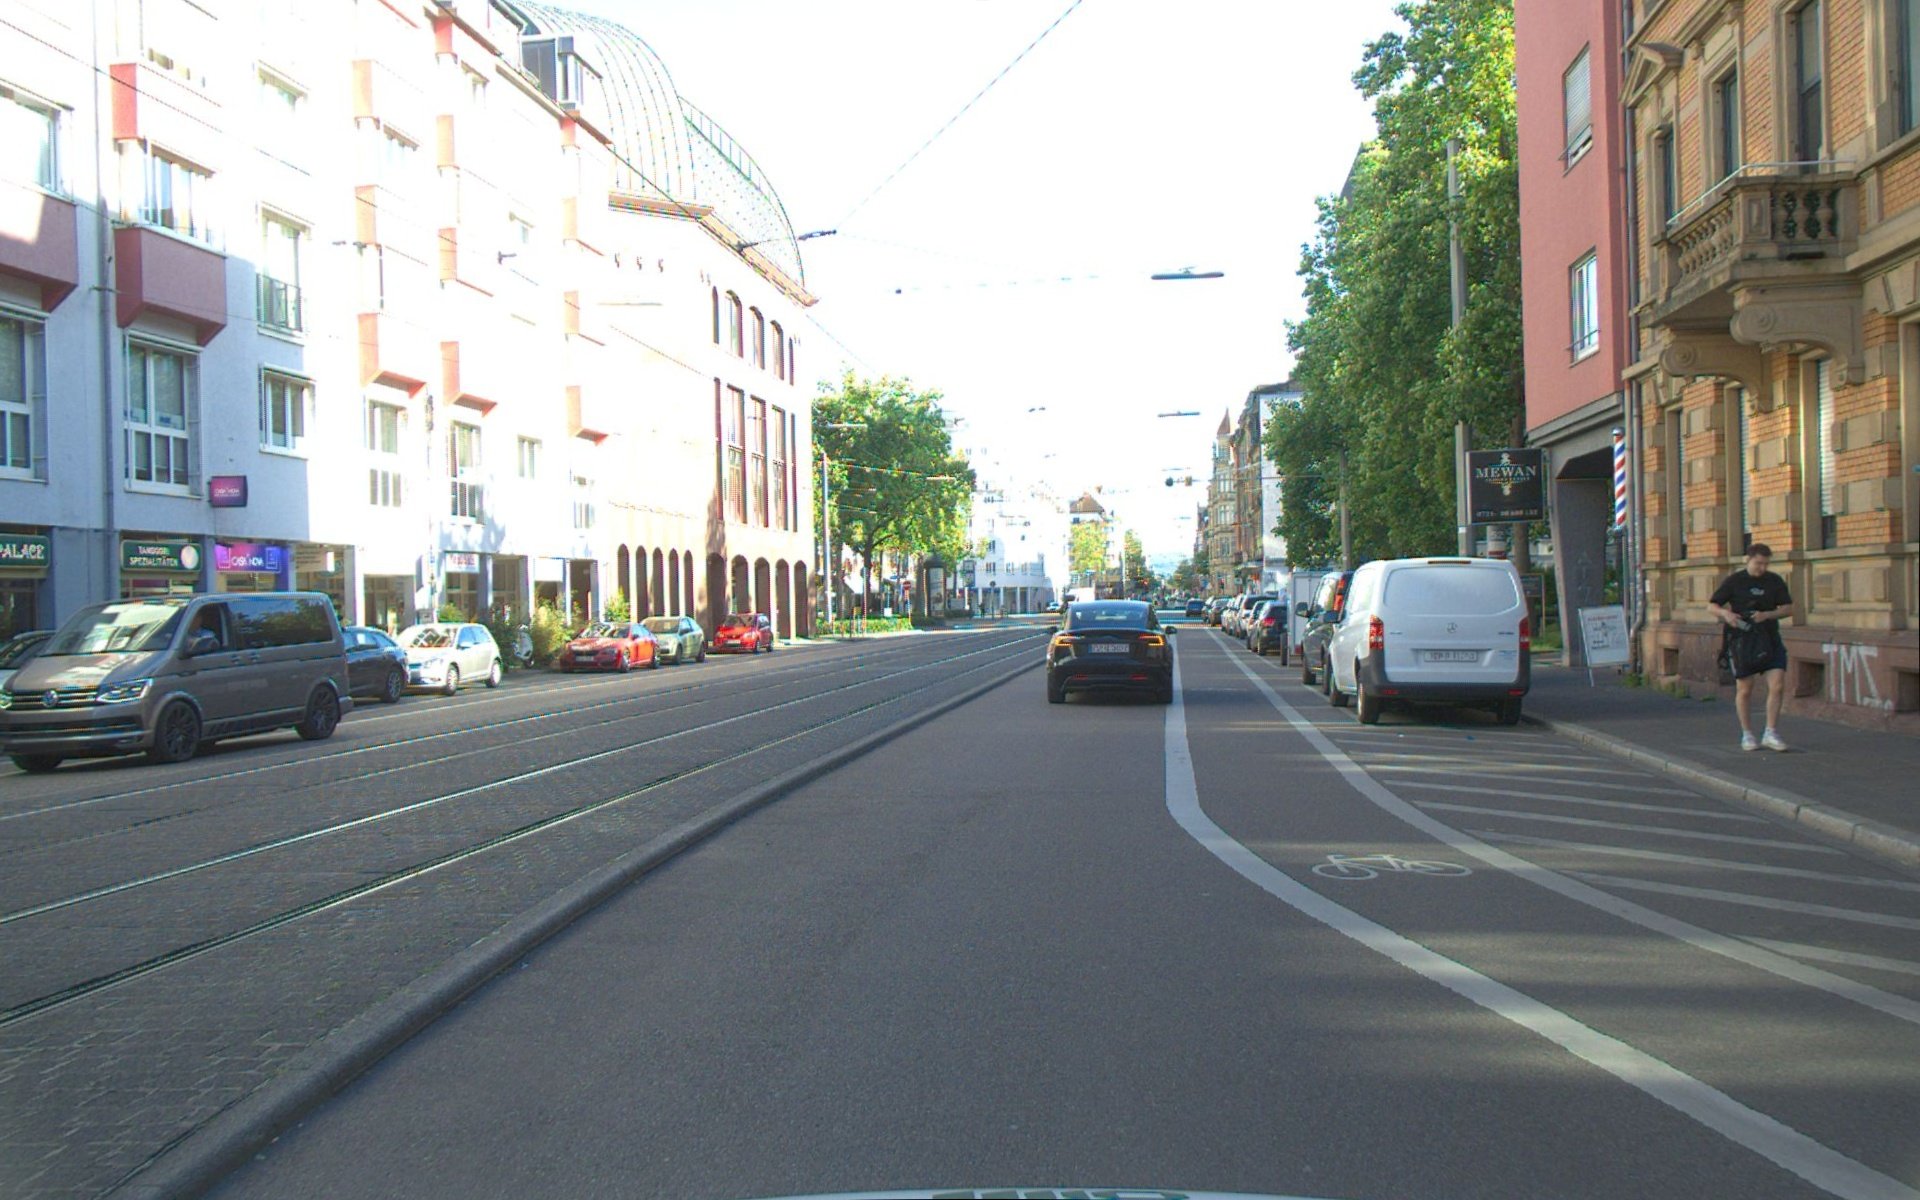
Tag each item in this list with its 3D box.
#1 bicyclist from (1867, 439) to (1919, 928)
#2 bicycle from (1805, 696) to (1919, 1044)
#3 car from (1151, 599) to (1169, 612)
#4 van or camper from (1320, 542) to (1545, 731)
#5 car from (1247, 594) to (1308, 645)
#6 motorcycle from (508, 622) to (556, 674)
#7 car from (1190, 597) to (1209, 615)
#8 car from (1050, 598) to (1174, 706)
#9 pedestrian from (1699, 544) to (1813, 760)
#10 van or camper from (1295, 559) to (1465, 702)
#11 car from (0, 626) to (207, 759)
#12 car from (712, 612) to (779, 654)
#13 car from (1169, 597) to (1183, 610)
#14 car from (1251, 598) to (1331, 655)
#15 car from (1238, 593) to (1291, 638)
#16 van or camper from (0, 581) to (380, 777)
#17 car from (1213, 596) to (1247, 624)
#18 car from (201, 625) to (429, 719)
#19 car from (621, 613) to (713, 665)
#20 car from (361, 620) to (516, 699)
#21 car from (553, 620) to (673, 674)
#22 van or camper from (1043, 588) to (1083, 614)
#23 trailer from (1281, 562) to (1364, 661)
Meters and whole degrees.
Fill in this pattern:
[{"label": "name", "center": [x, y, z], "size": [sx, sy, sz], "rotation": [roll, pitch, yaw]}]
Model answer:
[{"label": "bicyclist", "center": [3.633, 0.285, 5.539], "size": [0.642, 1.684, 0.927], "rotation": [-1, 0, -2]}, {"label": "bicycle", "center": [3.658, 0.955, 5.397], "size": [0.634, 1.159, 2.094], "rotation": [0, 0, -3]}, {"label": "car", "center": [26.057, 0.716, 215.581], "size": [1.952, 1.552, 4.002], "rotation": [-1, 0, 3]}, {"label": "van or camper", "center": [5.786, 0.416, 20.920], "size": [1.890, 2.072, 5.479], "rotation": [0, 0, 7]}, {"label": "car", "center": [9.776, 0.571, 50.706], "size": [1.712, 1.468, 4.319], "rotation": [-1, 0, 12]}, {"label": "motorcycle", "center": [-11.480, 1.265, 44.416], "size": [0.508, 1.320, 2.083], "rotation": [0, 0, 7]}, {"label": "car", "center": [20.488, 0.491, 141.596], "size": [1.559, 1.458, 3.689], "rotation": [-2, 0, 8]}, {"label": "car", "center": [2.274, 0.706, 24.361], "size": [1.683, 1.430, 3.713], "rotation": [0, 0, 6]}, {"label": "pedestrian", "center": [7.005, 0.450, 14.591], "size": [0.658, 1.846, 0.756], "rotation": [-1, -1, 6]}, {"label": "van or camper", "center": [6.684, 0.437, 26.873], "size": [1.929, 2.081, 5.335], "rotation": [0, 0, 6]}, {"label": "car", "center": [-12.903, 1.253, 23.745], "size": [1.877, 1.642, 4.372], "rotation": [-1, 0, 5]}, {"label": "car", "center": [-7.982, 1.206, 61.814], "size": [1.624, 1.447, 3.623], "rotation": [0, 0, 7]}, {"label": "car", "center": [29.387, 0.501, 224.893], "size": [1.806, 1.620, 4.003], "rotation": [-2, 0, 8]}, {"label": "car", "center": [9.083, 0.707, 45.667], "size": [1.764, 1.460, 4.326], "rotation": [1, 0, 6]}, {"label": "car", "center": [11.505, 0.554, 62.665], "size": [1.677, 1.618, 4.068], "rotation": [0, 0, 6]}, {"label": "van or camper", "center": [-9.188, 0.844, 19.878], "size": [1.951, 1.974, 4.838], "rotation": [-4, 0, 10]}, {"label": "car", "center": [14.897, 0.541, 91.439], "size": [1.674, 1.482, 4.554], "rotation": [0, 0, 7]}, {"label": "car", "center": [-11.811, 1.275, 30.675], "size": [1.861, 1.483, 4.830], "rotation": [-1, 0, 7]}, {"label": "car", "center": [-9.128, 1.189, 51.922], "size": [1.633, 1.494, 4.293], "rotation": [0, 0, 7]}, {"label": "car", "center": [-11.186, 1.244, 35.792], "size": [1.714, 1.500, 4.210], "rotation": [-1, 0, 5]}, {"label": "car", "center": [-9.764, 1.295, 46.997], "size": [1.918, 1.348, 4.824], "rotation": [0, 0, 6]}, {"label": "van or camper", "center": [11.438, 0.093, 182.454], "size": [2.097, 2.700, 6.877], "rotation": [-2, -1, 24]}, {"label": "trailer", "center": [8.284, 0.241, 38.071], "size": [1.625, 2.154, 3.846], "rotation": [0, 0, 9]}]
